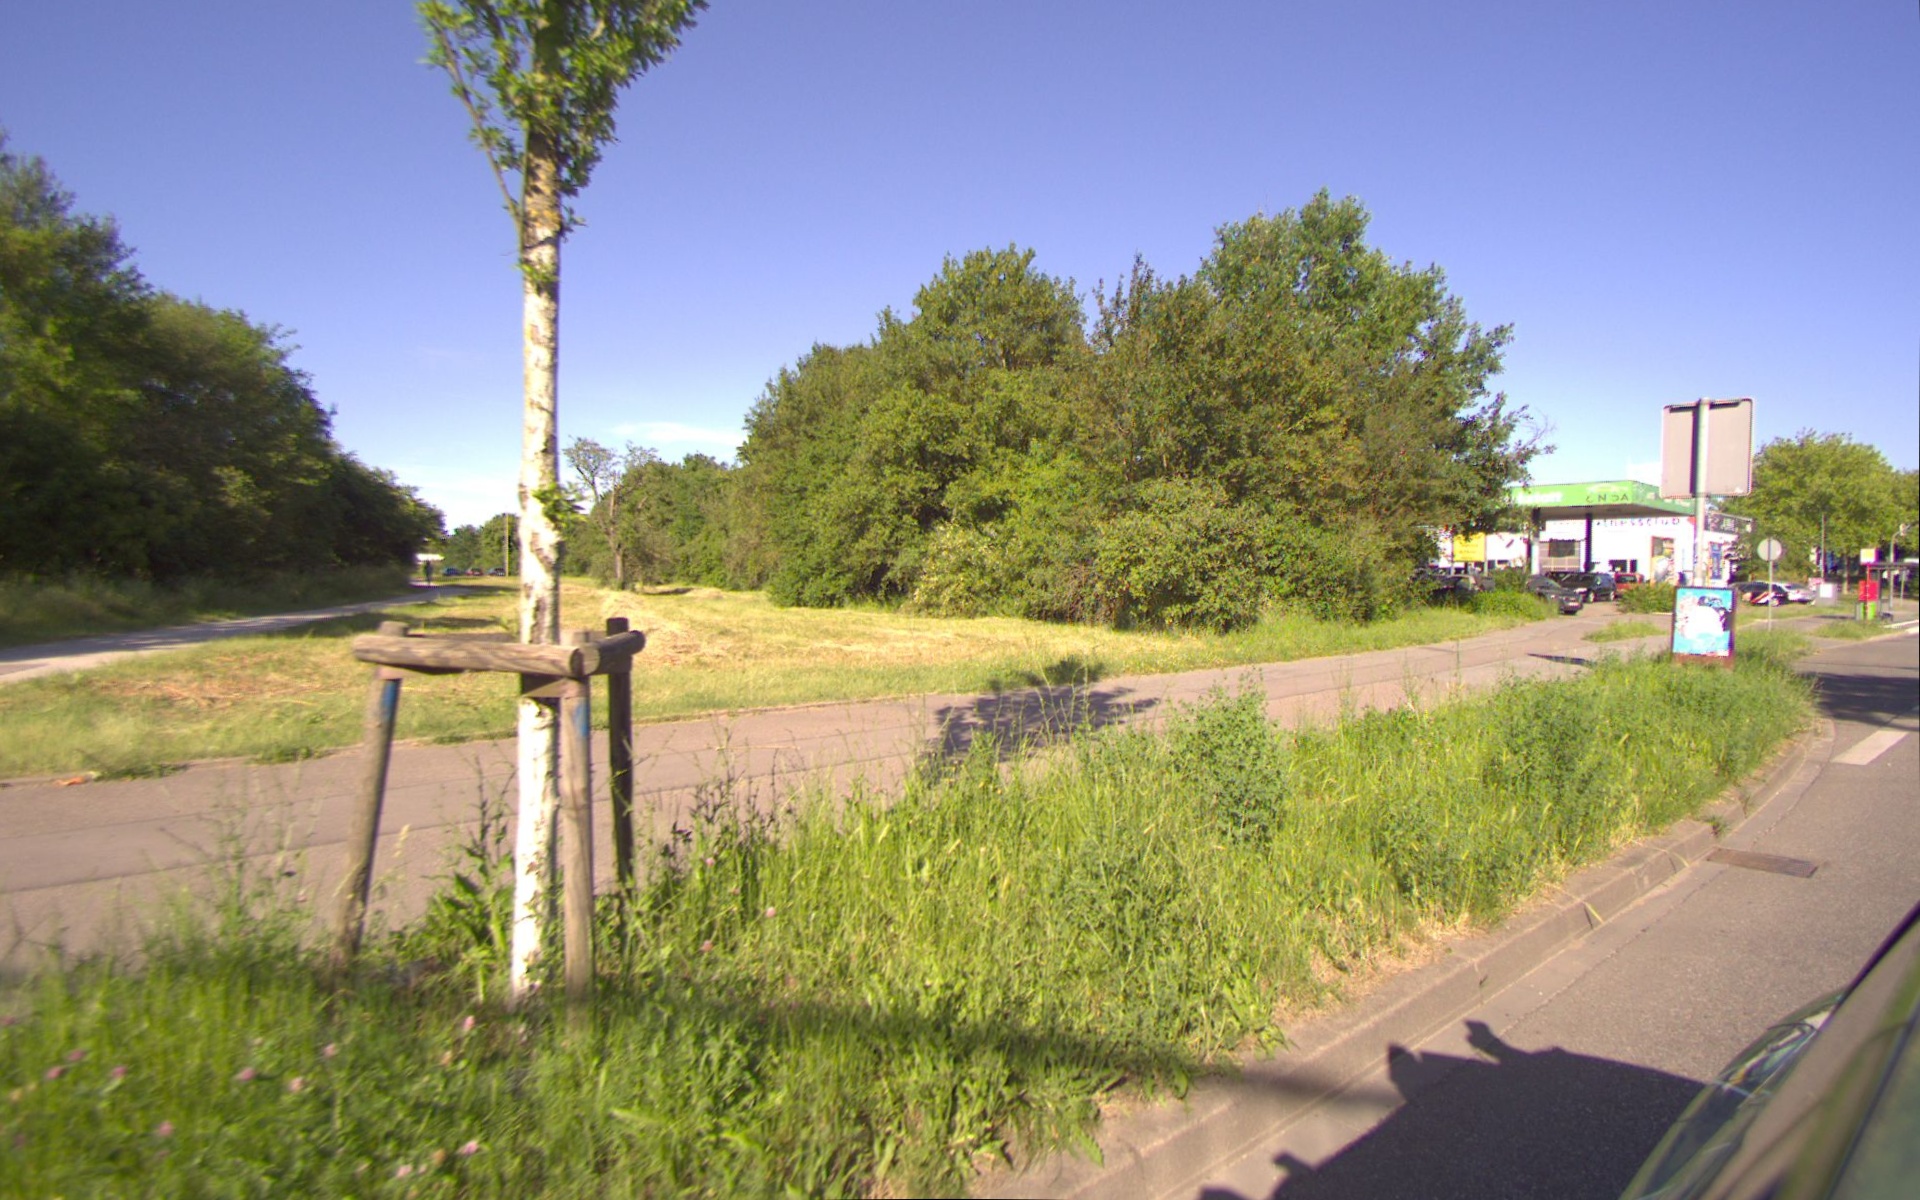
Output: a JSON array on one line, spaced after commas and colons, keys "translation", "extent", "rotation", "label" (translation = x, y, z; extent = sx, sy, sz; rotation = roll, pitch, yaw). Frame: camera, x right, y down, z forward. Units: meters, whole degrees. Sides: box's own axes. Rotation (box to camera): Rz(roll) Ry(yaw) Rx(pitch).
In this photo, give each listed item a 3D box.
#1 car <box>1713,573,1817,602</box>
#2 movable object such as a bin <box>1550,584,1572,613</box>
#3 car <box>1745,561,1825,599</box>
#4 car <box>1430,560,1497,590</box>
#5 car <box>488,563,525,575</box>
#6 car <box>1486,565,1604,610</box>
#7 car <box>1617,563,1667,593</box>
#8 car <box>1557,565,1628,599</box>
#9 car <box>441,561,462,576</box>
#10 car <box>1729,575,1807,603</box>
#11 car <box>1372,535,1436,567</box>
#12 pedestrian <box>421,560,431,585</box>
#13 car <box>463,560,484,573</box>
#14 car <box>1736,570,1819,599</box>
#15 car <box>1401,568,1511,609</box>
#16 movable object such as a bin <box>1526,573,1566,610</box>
[{"translation": [50.462, -0.807, 63.499], "extent": [4.748, 1.549, 1.900], "rotation": [2, 3, 4], "label": "car"}, {"translation": [23.268, -0.055, 39.207], "extent": [0.572, 1.088, 0.509], "rotation": [0, 0, 8], "label": "movable object such as a bin"}, {"translation": [57.443, -1.423, 70.543], "extent": [1.652, 2.035, 4.013], "rotation": [4, 7, -8], "label": "car"}, {"translation": [34.689, -1.689, 69.794], "extent": [1.890, 1.931, 3.697], "rotation": [-1, 0, -40], "label": "car"}, {"translation": [-55.609, -3.762, 124.045], "extent": [3.921, 1.438, 2.001], "rotation": [-1, 0, -31], "label": "car"}, {"translation": [24.911, -0.570, 43.308], "extent": [1.764, 1.659, 4.572], "rotation": [1, 3, -11], "label": "car"}, {"translation": [47.228, -1.563, 70.049], "extent": [4.146, 1.883, 1.896], "rotation": [-2, 5, -43], "label": "car"}, {"translation": [31.377, -0.889, 50.167], "extent": [4.172, 1.592, 1.749], "rotation": [-1, 2, -39], "label": "car"}, {"translation": [-61.169, -3.736, 121.795], "extent": [1.960, 1.660, 4.003], "rotation": [-1, 0, -30], "label": "car"}, {"translation": [53.158, -0.752, 66.616], "extent": [1.808, 1.305, 3.620], "rotation": [-1, 9, -39], "label": "car"}, {"translation": [25.769, -2.849, 58.749], "extent": [3.711, 1.776, 1.923], "rotation": [-1, 3, -40], "label": "car"}, {"translation": [-33.328, -1.734, 63.179], "extent": [0.529, 1.548, 0.535], "rotation": [-1, 0, -27], "label": "pedestrian"}, {"translation": [-59.258, -4.059, 123.280], "extent": [1.960, 1.527, 4.003], "rotation": [-1, 0, -30], "label": "car"}, {"translation": [55.300, -1.077, 68.526], "extent": [1.690, 1.468, 3.943], "rotation": [0, 8, -29], "label": "car"}, {"translation": [18.635, -0.418, 38.123], "extent": [1.740, 1.505, 3.291], "rotation": [-1, 0, -38], "label": "car"}, {"translation": [23.647, -0.338, 40.888], "extent": [0.972, 1.446, 1.258], "rotation": [0, 0, 7], "label": "movable object such as a bin"}]
